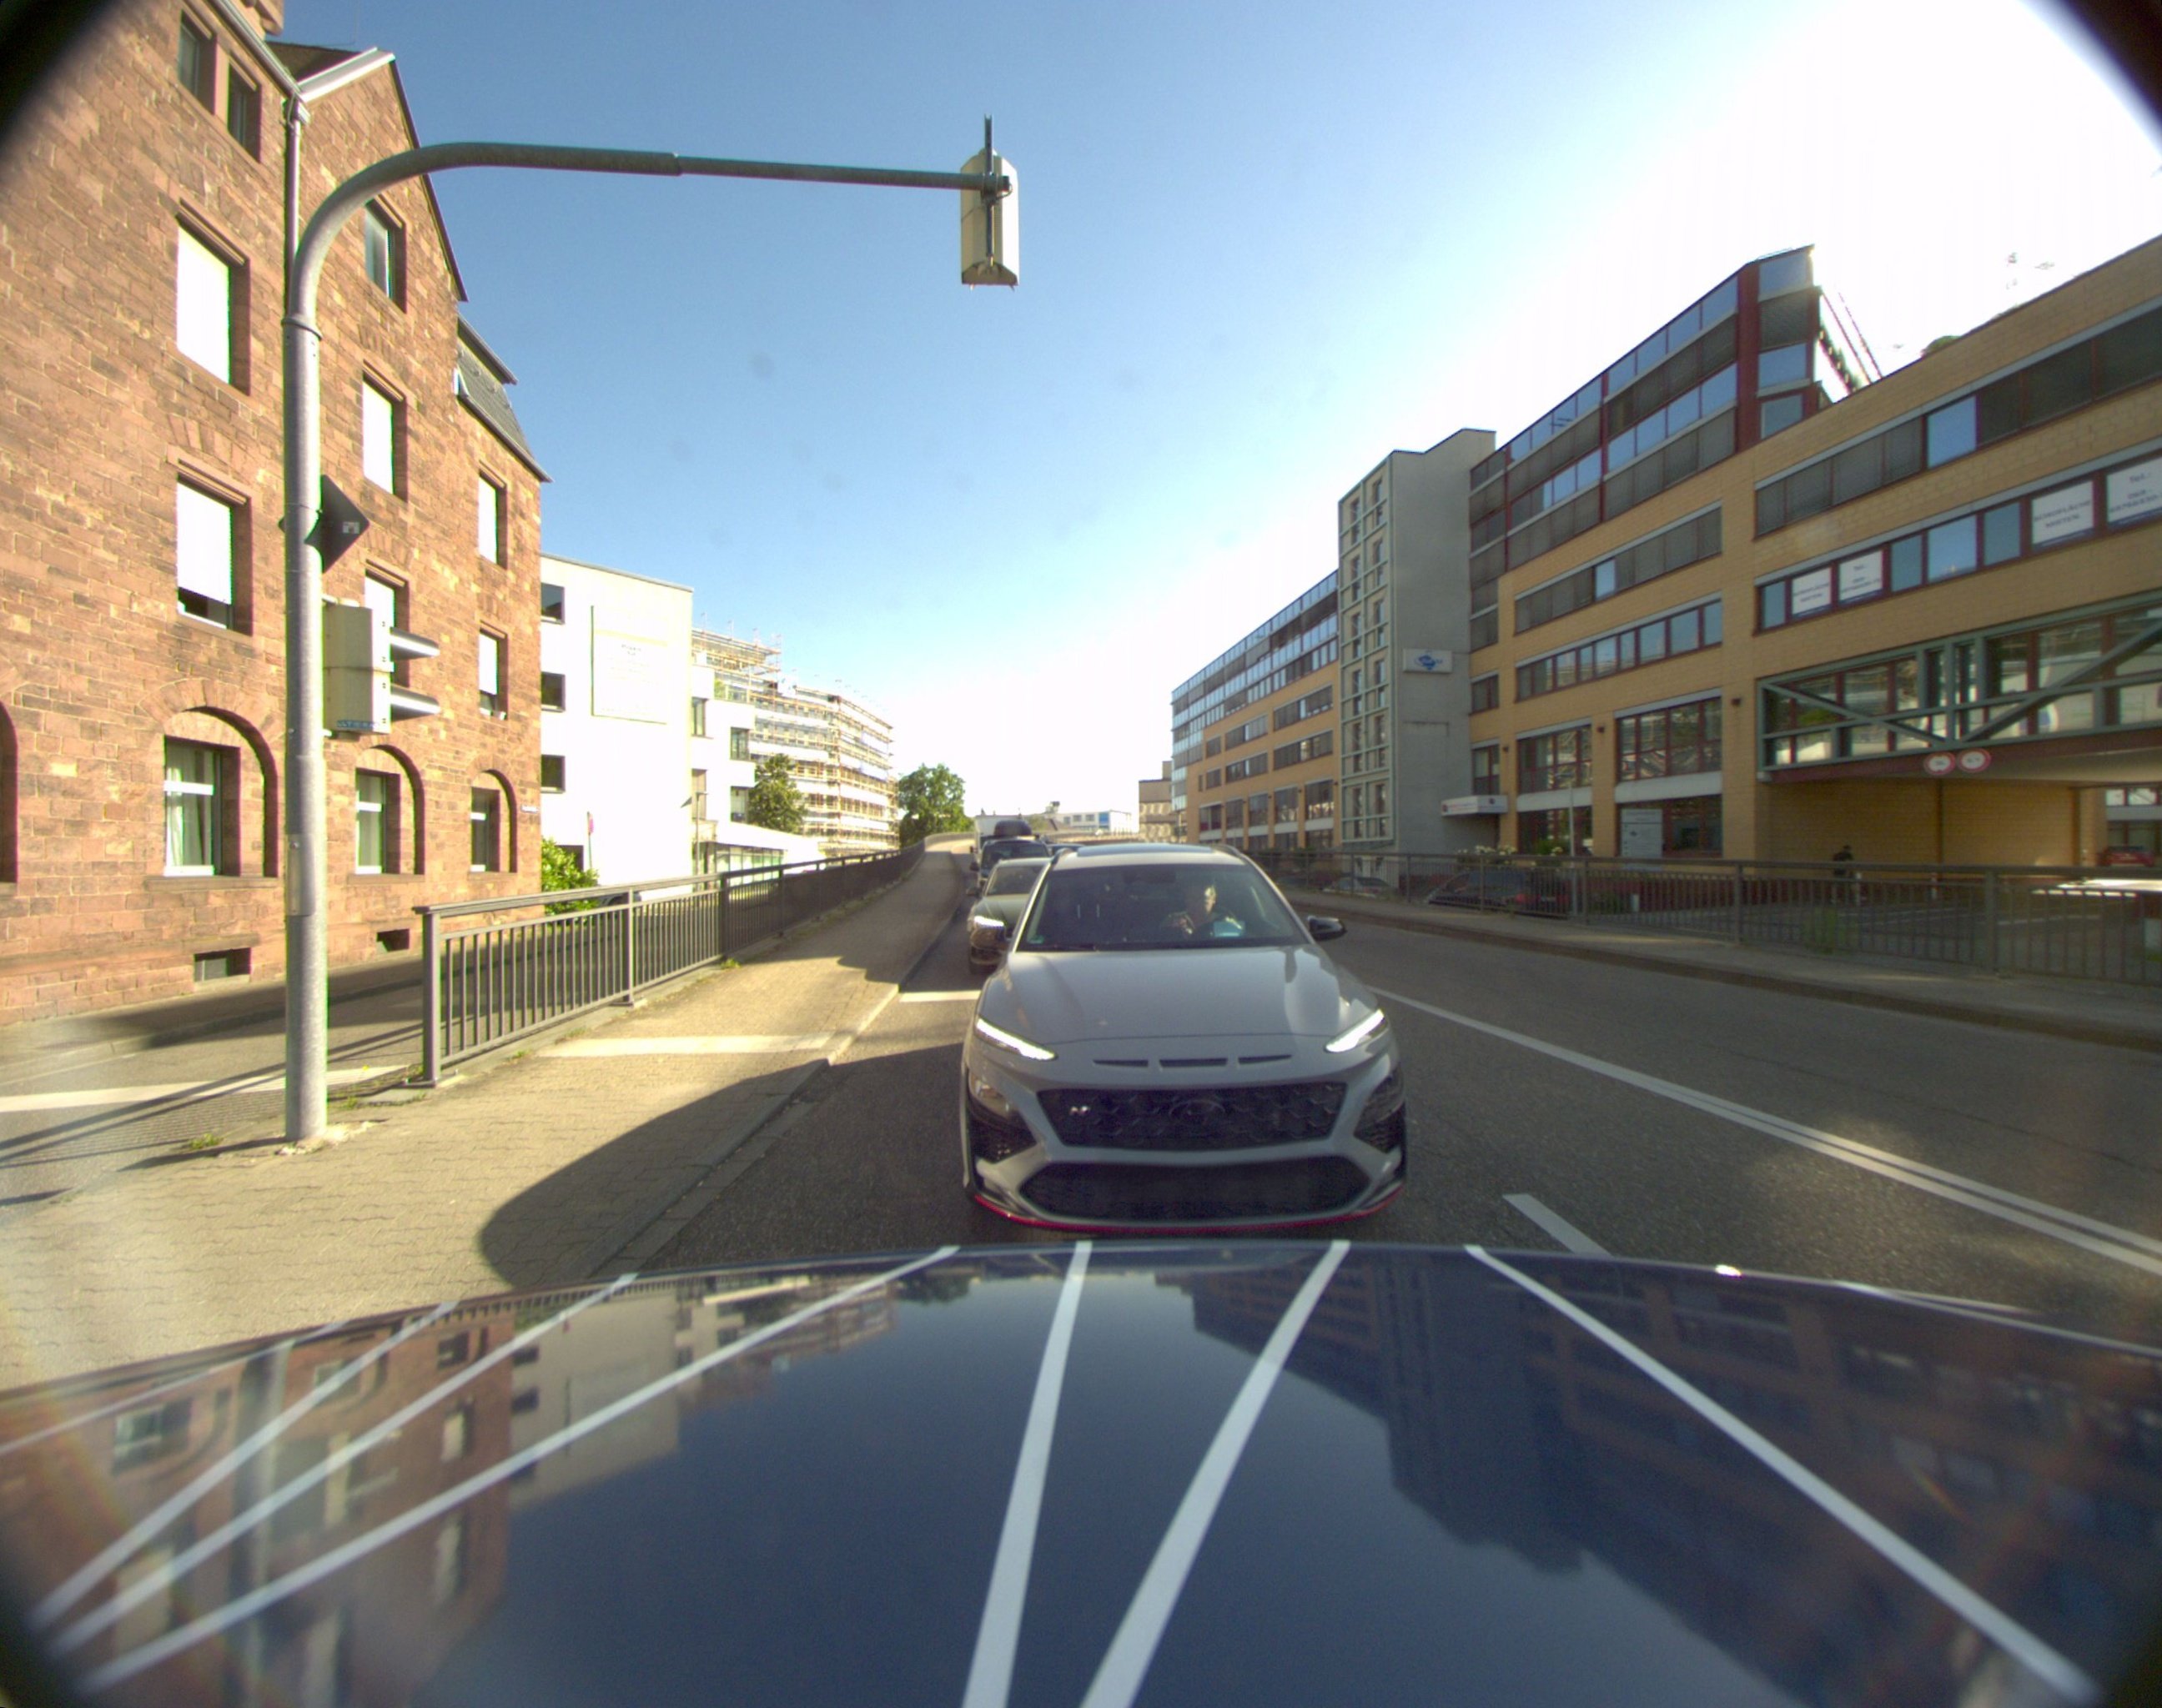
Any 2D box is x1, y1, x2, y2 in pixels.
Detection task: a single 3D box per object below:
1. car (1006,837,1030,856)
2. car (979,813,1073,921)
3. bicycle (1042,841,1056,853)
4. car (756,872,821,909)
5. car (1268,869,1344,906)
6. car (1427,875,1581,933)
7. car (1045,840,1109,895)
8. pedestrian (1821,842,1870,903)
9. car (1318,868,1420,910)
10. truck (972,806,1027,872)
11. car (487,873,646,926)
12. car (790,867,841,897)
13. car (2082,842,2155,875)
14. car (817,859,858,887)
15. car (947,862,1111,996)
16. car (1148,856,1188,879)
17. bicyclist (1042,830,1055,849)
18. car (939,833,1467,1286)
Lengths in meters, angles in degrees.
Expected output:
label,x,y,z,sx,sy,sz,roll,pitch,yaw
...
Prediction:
label,x,y,z,sx,sy,sz,roll,pitch,yaw
car,-5.828,-0.676,69.642,1.838,1.745,4.485,0,1,-9
car,-1.369,0.299,18.245,1.951,2.248,4.783,0,-1,-5
bicycle,-3.290,-0.715,77.181,1.083,1.223,2.781,-2,1,-9
car,-13.355,1.626,34.963,2.054,1.522,4.089,-1,-1,-11
car,10.406,1.519,35.498,1.885,1.554,3.997,0,-1,-9
car,12.525,1.408,22.831,1.639,1.514,4.156,0,-1,-14
car,-0.229,0.440,25.748,1.879,1.699,4.195,0,-1,-4
pedestrian,23.709,0.565,23.567,0.747,1.840,0.705,-2,0,-5
car,11.415,1.352,30.407,1.881,1.514,4.157,0,-1,-11
truck,-4.259,-0.676,39.268,2.504,3.109,6.956,-1,-1,-7
car,-17.050,1.446,25.298,4.101,1.522,1.914,0,-1,-44
car,-14.415,1.485,41.449,2.054,1.522,4.089,-1,-1,-11
car,54.027,0.225,39.643,4.007,1.512,1.763,-3,1,-43
car,-15.795,1.231,49.430,2.054,1.676,4.089,-1,-1,-11
car,-0.765,0.886,11.078,1.879,1.462,4.633,0,0,-4
car,6.380,0.967,56.057,2.000,1.499,3.997,-2,1,-7
bicyclist,-3.320,-1.465,77.148,1.083,1.861,1.083,-2,1,-9
car,0.505,0.747,4.825,1.878,1.612,4.197,0,0,2
